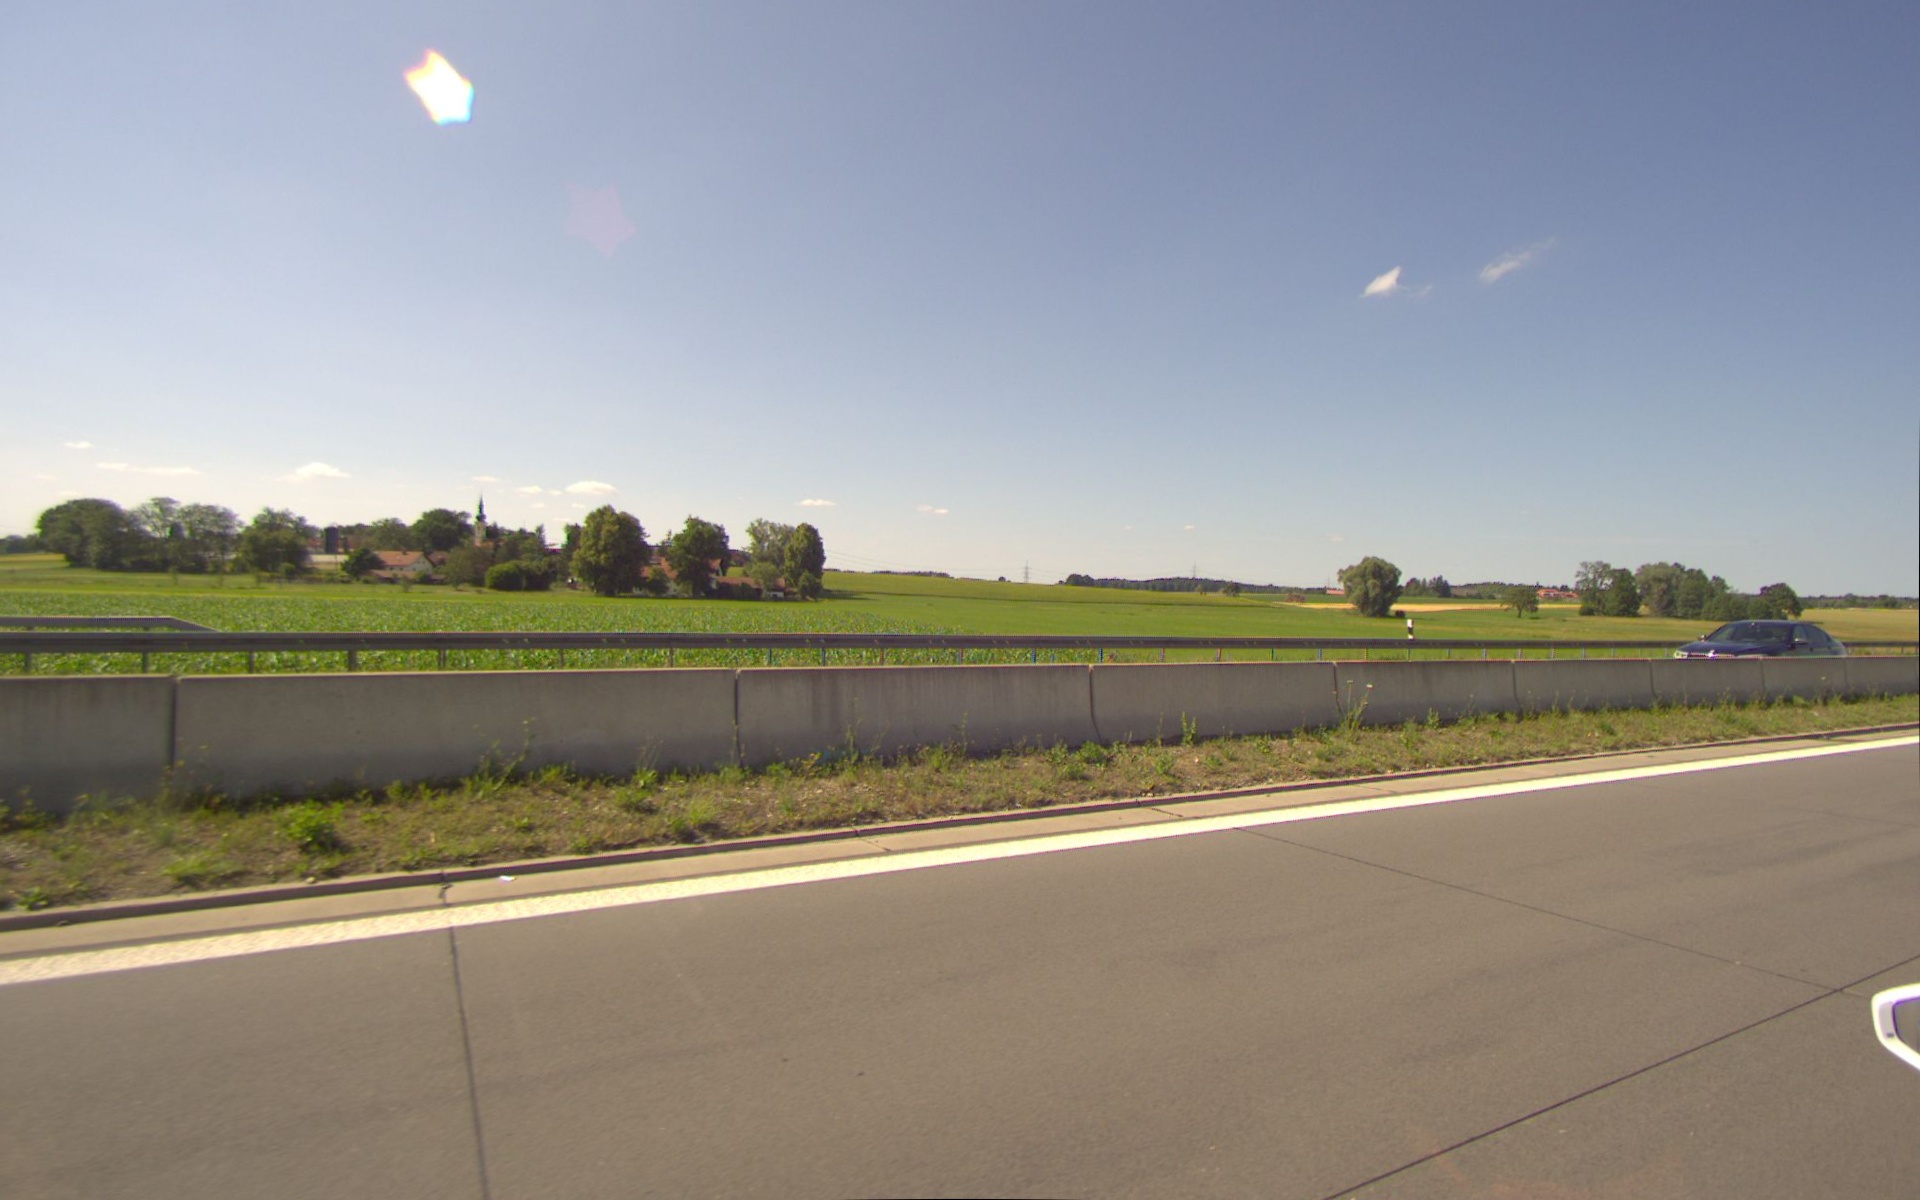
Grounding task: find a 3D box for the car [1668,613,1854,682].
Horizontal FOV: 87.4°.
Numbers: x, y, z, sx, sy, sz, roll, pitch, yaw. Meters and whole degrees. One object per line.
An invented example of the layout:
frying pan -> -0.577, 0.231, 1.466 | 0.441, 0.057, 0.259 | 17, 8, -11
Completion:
car -> 18.009, 1.018, 22.529 | 4.607, 1.383, 1.813 | 1, -1, -32
